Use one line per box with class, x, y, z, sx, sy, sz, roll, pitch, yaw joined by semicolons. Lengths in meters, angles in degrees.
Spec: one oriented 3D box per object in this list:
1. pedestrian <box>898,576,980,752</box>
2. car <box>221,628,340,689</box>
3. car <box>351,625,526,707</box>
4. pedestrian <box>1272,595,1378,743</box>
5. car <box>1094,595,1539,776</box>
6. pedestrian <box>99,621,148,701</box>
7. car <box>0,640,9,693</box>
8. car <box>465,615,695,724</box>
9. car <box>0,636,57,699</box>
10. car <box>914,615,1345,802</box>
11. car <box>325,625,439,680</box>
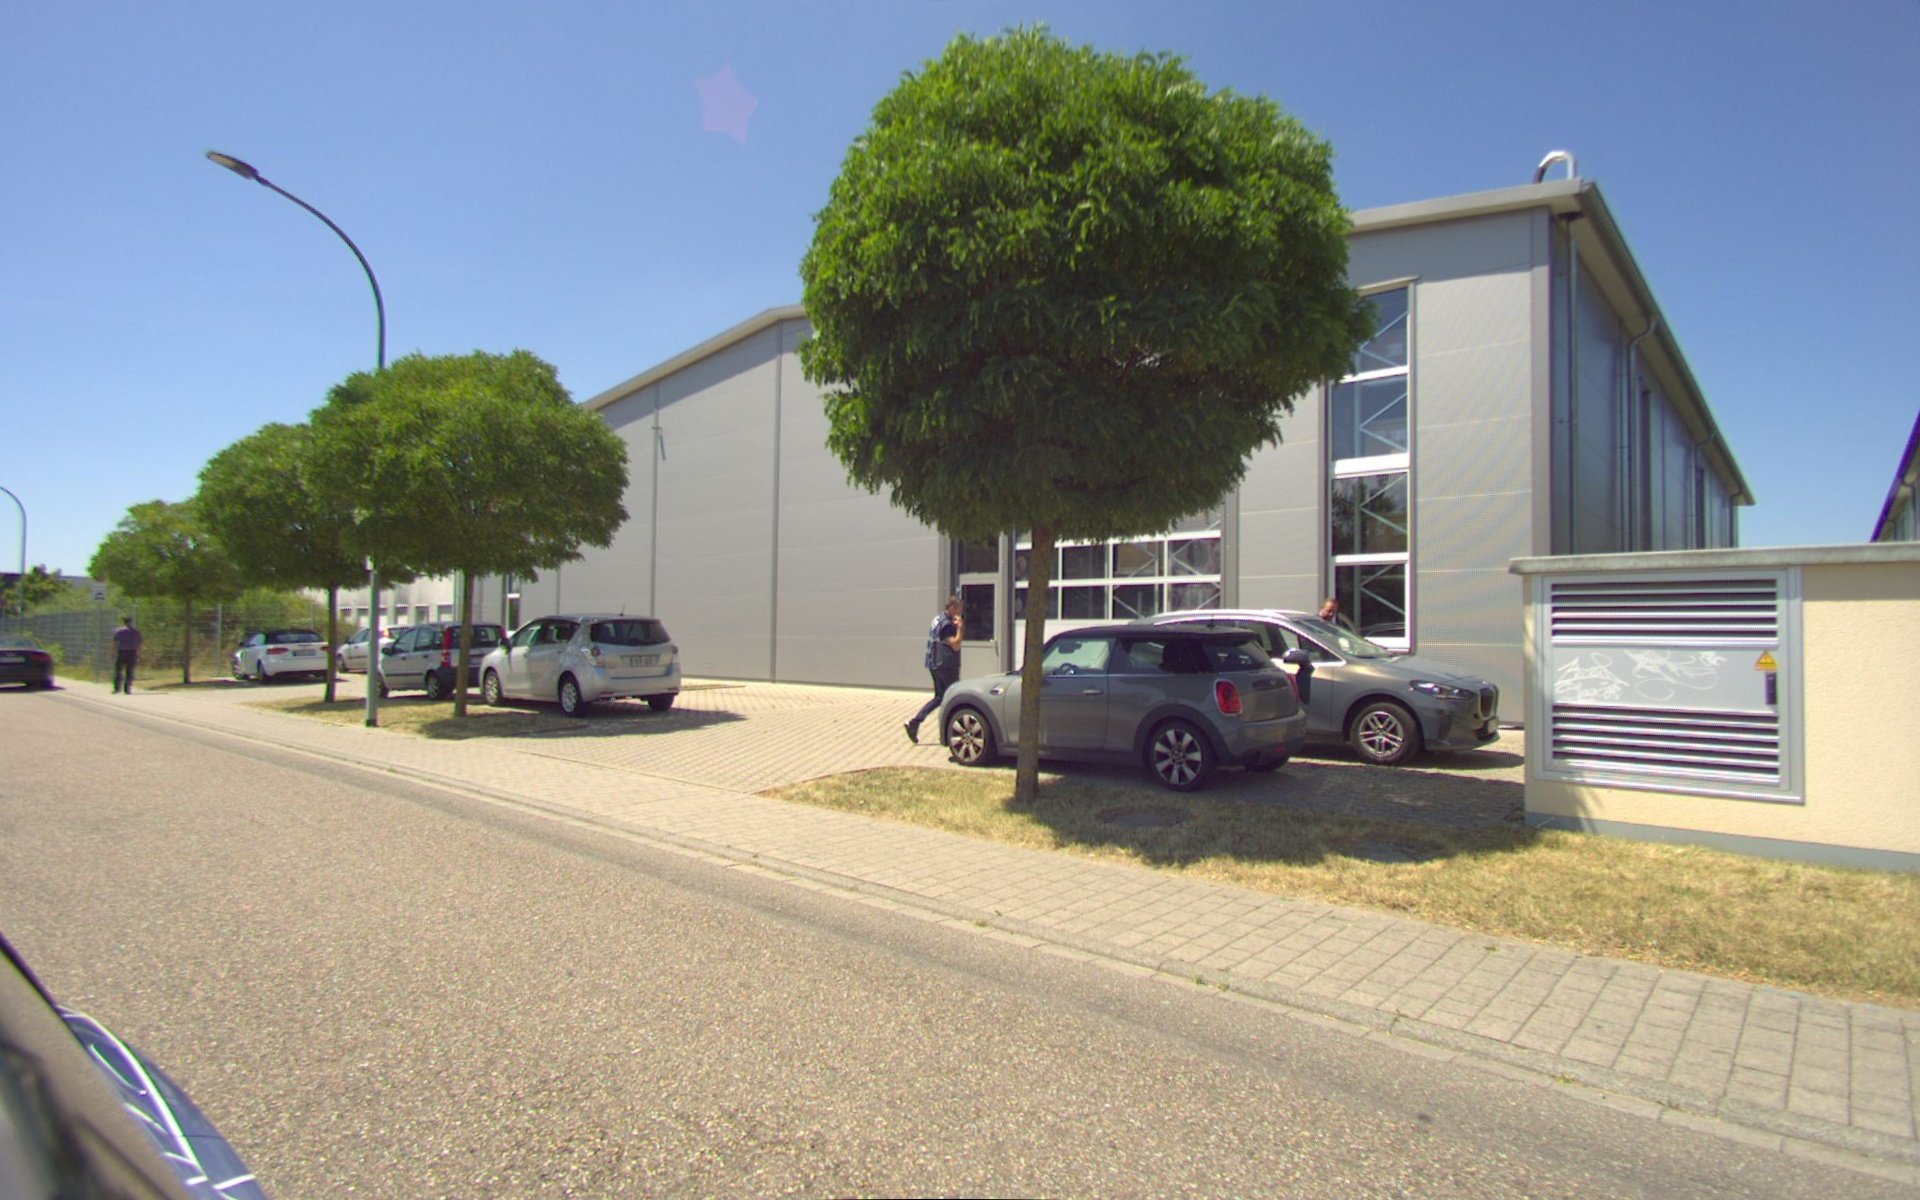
pedestrian;-0.267;0.736;12.060;0.829;1.987;0.966;-1;-1;-9
car;-18.731;1.557;27.835;4.327;1.511;1.804;-2;-1;43
car;-10.523;1.282;20.341;3.698;1.511;1.667;-2;-3;37
pedestrian;4.491;0.819;12.450;0.964;1.726;0.831;-2;-2;41
car;3.796;0.834;11.301;4.347;1.640;1.716;-2;-2;42
pedestrian;-19.476;1.400;23.569;1.135;1.815;0.736;-2;-1;43
car;-29.516;1.933;29.796;4.257;1.511;1.805;-2;-4;42
car;-6.513;1.091;17.090;4.538;1.585;1.747;-2;-2;42
car;-24.945;1.707;26.170;4.523;1.511;1.805;-2;-4;41
car;1.521;0.913;9.936;3.839;1.464;1.746;-2;-2;42
car;-17.444;1.537;30.475;4.259;1.511;1.804;-2;-1;43
